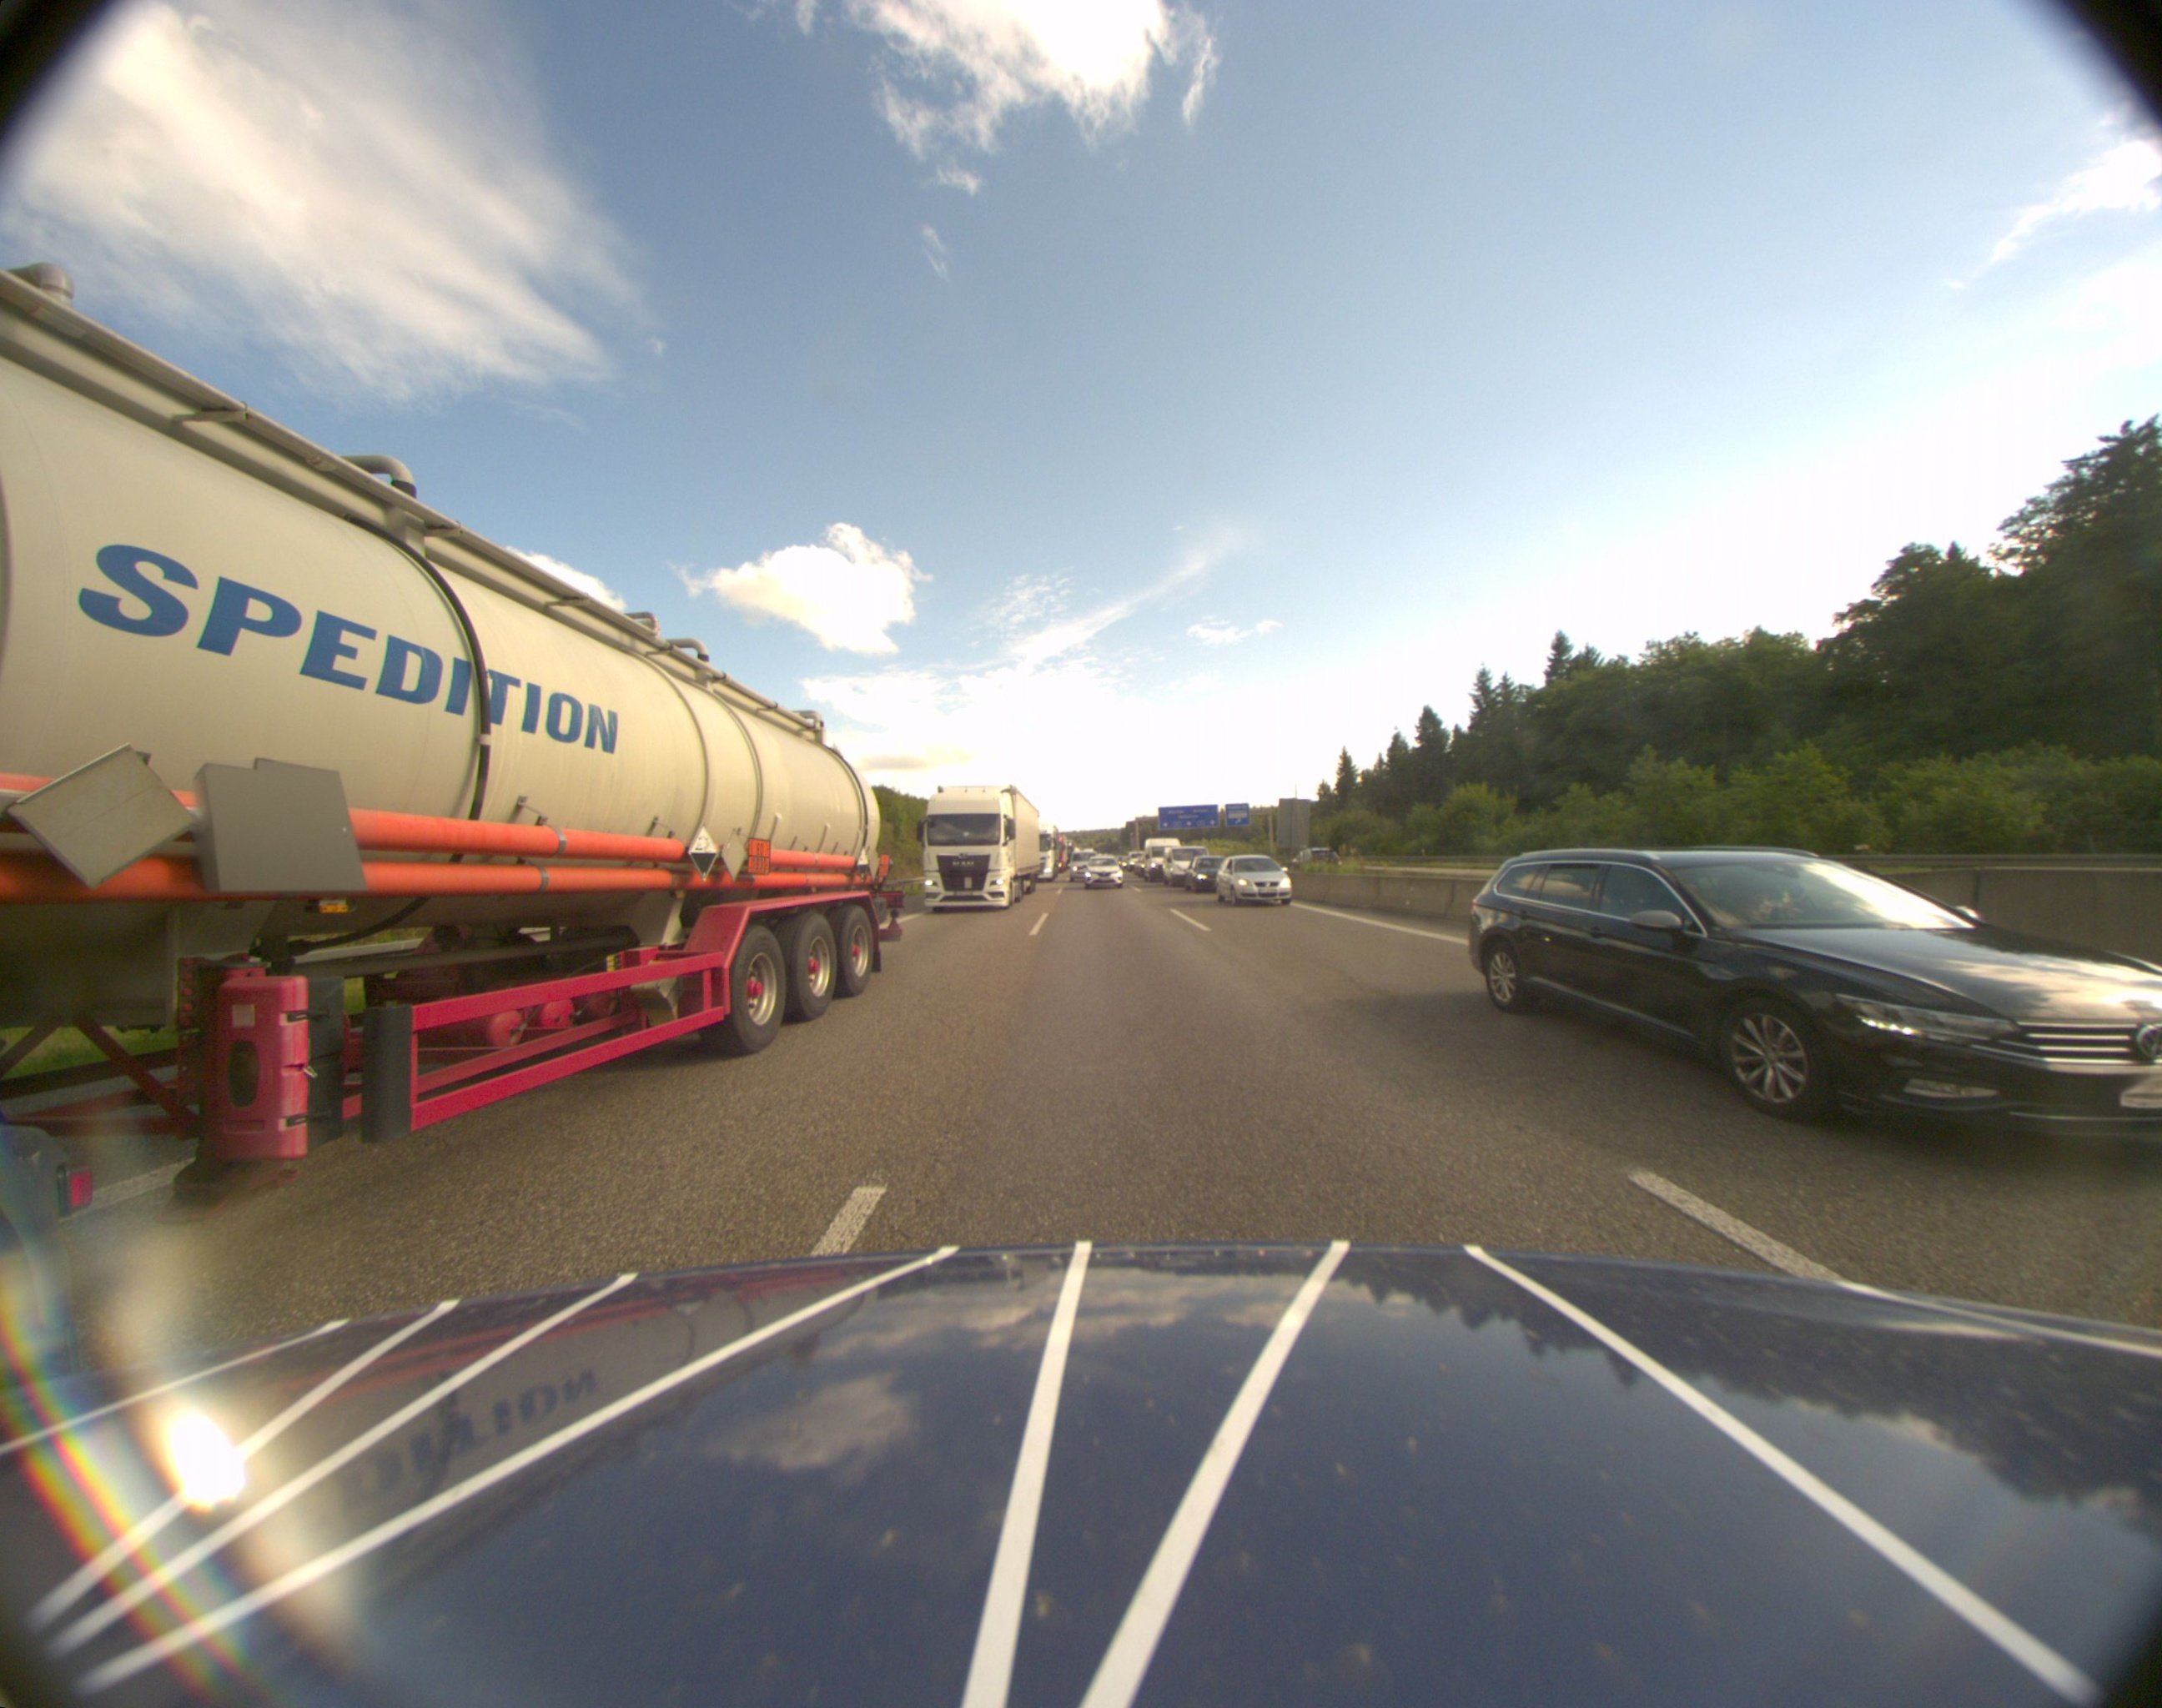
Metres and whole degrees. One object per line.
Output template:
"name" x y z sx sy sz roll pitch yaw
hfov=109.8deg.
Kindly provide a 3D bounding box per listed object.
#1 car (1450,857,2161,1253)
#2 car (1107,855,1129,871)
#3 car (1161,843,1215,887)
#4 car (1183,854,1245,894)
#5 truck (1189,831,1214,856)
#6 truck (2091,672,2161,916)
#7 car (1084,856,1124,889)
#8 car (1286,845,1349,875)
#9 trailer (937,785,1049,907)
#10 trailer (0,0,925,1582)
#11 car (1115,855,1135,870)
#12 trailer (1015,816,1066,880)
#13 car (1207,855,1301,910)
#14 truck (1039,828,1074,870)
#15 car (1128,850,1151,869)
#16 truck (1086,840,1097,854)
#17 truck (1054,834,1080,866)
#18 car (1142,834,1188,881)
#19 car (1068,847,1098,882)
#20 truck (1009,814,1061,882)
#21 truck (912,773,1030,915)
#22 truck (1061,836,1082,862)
"car" 4.541 0.794 5.218 1.915 1.469 4.569 -2 0 2
"car" 3.396 0.833 70.650 1.809 1.423 3.660 -2 0 0
"car" 5.237 0.514 37.761 1.947 1.953 4.847 -2 0 0
"car" 5.370 0.761 31.039 1.809 1.423 3.993 -2 0 0
"truck" 21.646 -1.865 137.372 2.840 4.178 12.045 -2 1 2
"truck" 19.964 -1.053 10.904 2.841 4.178 6.078 -2 1 0
"car" 1.080 0.853 37.822 1.809 1.487 4.666 -1 0 0
"car" 12.409 0.314 40.183 1.809 1.423 4.322 -2 0 -2
"trailer" -3.250 -0.303 32.252 2.833 4.047 13.371 -2 0 1
"trailer" -3.888 -0.293 5.685 2.805 4.003 11.182 -2 0 1
"car" 4.786 0.899 83.379 1.920 1.535 3.811 -2 0 0
"trailer" -2.876 -0.427 57.952 2.841 4.177 13.613 -2 0 1
"car" 5.145 0.787 23.278 1.809 1.423 4.666 -2 0 0
"truck" -2.476 -0.573 82.093 2.840 4.178 12.045 -2 1 2
"car" 5.745 0.533 74.749 1.920 1.785 3.811 -2 0 0
"truck" 3.119 -2.201 230.055 2.840 4.178 12.045 -2 1 2
"truck" -1.817 -0.616 106.777 2.840 4.178 12.045 -2 1 2
"car" 4.935 0.193 45.444 2.054 2.557 5.861 -1 0 0
"car" 0.130 0.643 49.021 1.809 2.052 4.770 -2 0 0
"truck" -2.963 -0.401 50.668 2.841 4.177 5.707 -2 0 1
"truck" -3.386 -0.303 24.961 2.841 4.048 5.707 -2 0 1
"truck" -1.595 -0.938 134.476 2.840 4.178 12.045 -2 1 2
